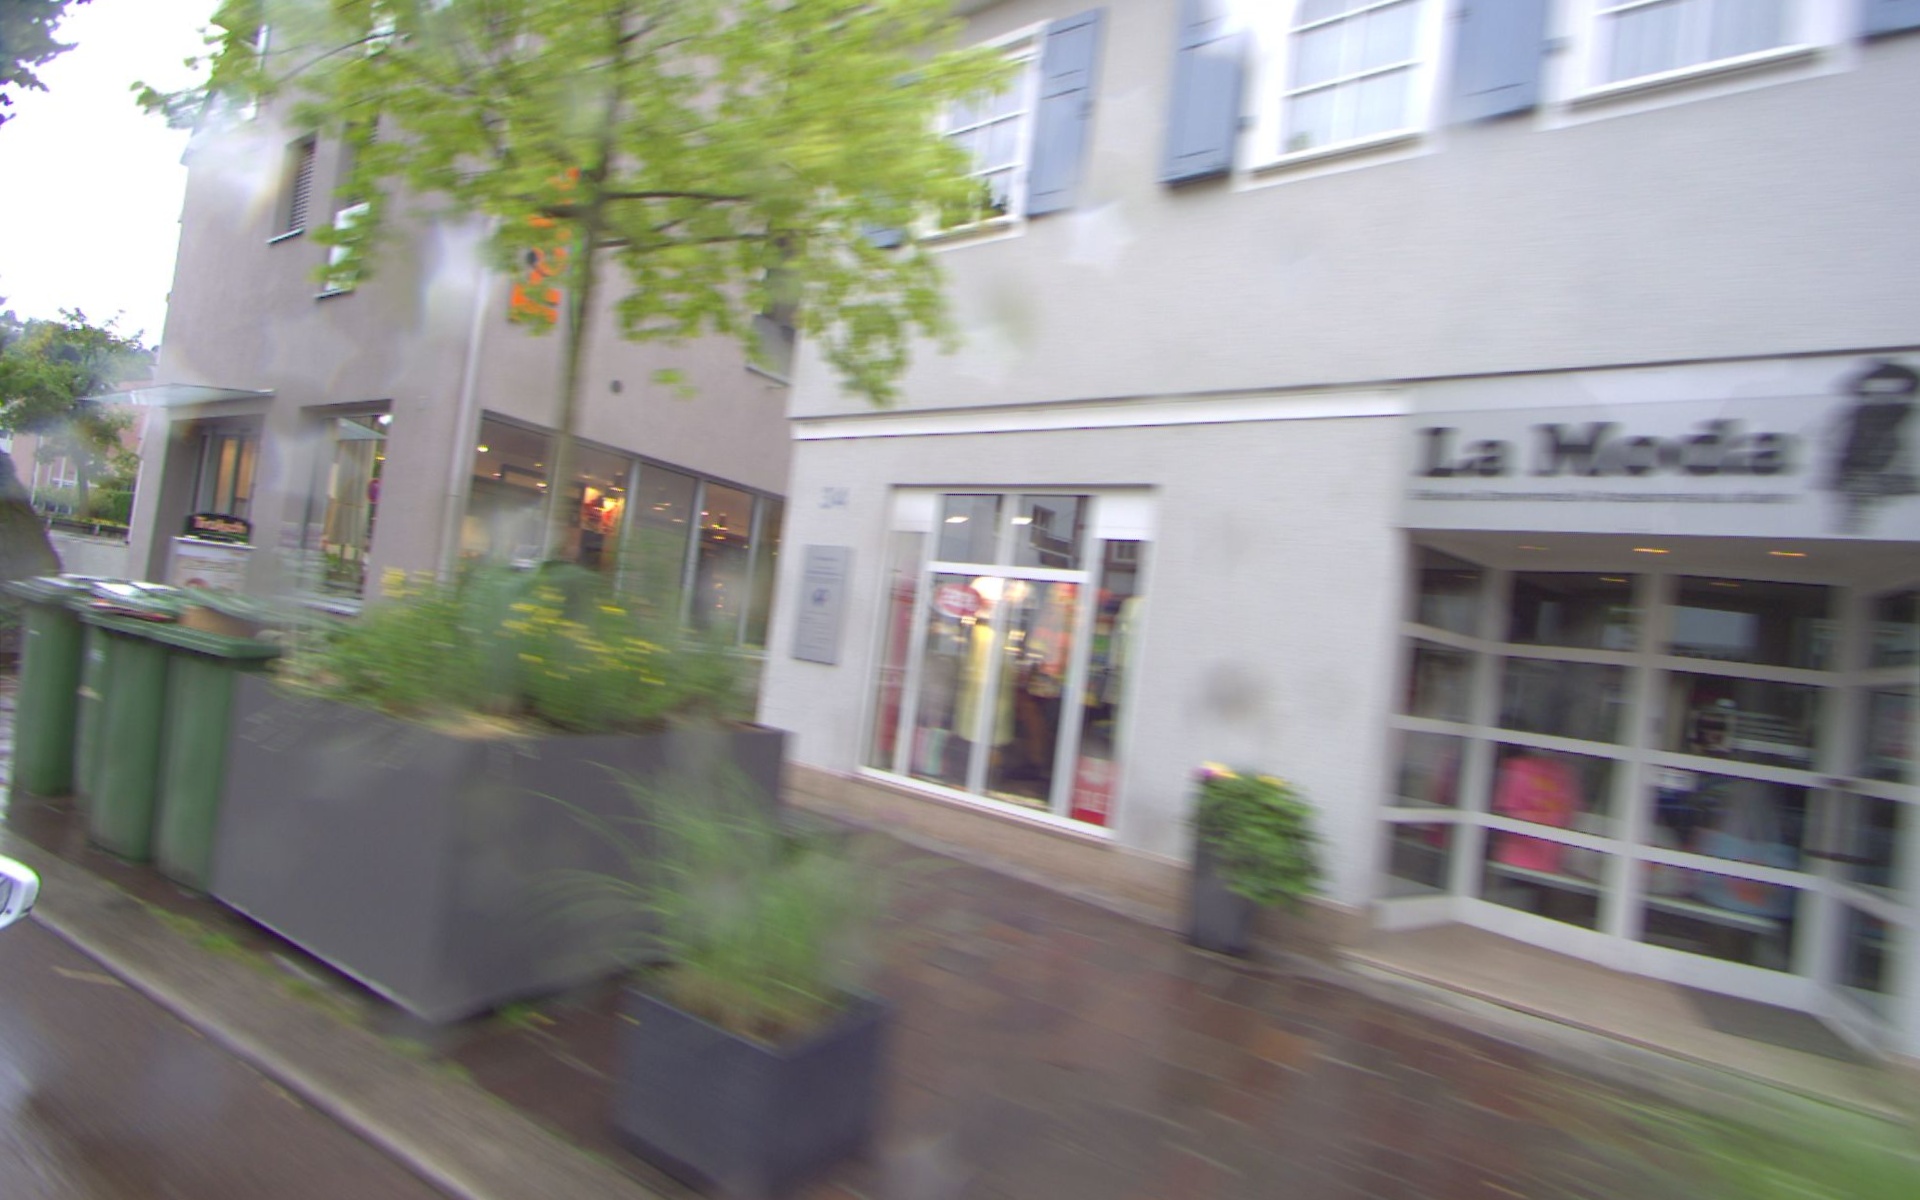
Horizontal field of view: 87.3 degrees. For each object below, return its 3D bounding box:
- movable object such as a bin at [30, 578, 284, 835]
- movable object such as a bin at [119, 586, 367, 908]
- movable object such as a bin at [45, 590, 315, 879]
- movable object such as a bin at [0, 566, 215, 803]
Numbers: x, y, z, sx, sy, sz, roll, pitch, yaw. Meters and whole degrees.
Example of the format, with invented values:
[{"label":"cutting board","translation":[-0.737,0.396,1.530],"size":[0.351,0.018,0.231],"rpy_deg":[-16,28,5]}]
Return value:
[{"label":"movable object such as a bin","translation":[-3.932,0.508,4.951],"size":[0.552,1.114,0.730],"rpy_deg":[6,-2,32]},{"label":"movable object such as a bin","translation":[-2.946,0.576,4.148],"size":[0.567,1.169,0.544],"rpy_deg":[6,-2,32]},{"label":"movable object such as a bin","translation":[-3.436,0.570,4.459],"size":[0.552,1.114,0.694],"rpy_deg":[6,-2,32]},{"label":"movable object such as a bin","translation":[-4.484,0.429,5.221],"size":[0.567,1.092,0.730],"rpy_deg":[6,-2,32]}]
